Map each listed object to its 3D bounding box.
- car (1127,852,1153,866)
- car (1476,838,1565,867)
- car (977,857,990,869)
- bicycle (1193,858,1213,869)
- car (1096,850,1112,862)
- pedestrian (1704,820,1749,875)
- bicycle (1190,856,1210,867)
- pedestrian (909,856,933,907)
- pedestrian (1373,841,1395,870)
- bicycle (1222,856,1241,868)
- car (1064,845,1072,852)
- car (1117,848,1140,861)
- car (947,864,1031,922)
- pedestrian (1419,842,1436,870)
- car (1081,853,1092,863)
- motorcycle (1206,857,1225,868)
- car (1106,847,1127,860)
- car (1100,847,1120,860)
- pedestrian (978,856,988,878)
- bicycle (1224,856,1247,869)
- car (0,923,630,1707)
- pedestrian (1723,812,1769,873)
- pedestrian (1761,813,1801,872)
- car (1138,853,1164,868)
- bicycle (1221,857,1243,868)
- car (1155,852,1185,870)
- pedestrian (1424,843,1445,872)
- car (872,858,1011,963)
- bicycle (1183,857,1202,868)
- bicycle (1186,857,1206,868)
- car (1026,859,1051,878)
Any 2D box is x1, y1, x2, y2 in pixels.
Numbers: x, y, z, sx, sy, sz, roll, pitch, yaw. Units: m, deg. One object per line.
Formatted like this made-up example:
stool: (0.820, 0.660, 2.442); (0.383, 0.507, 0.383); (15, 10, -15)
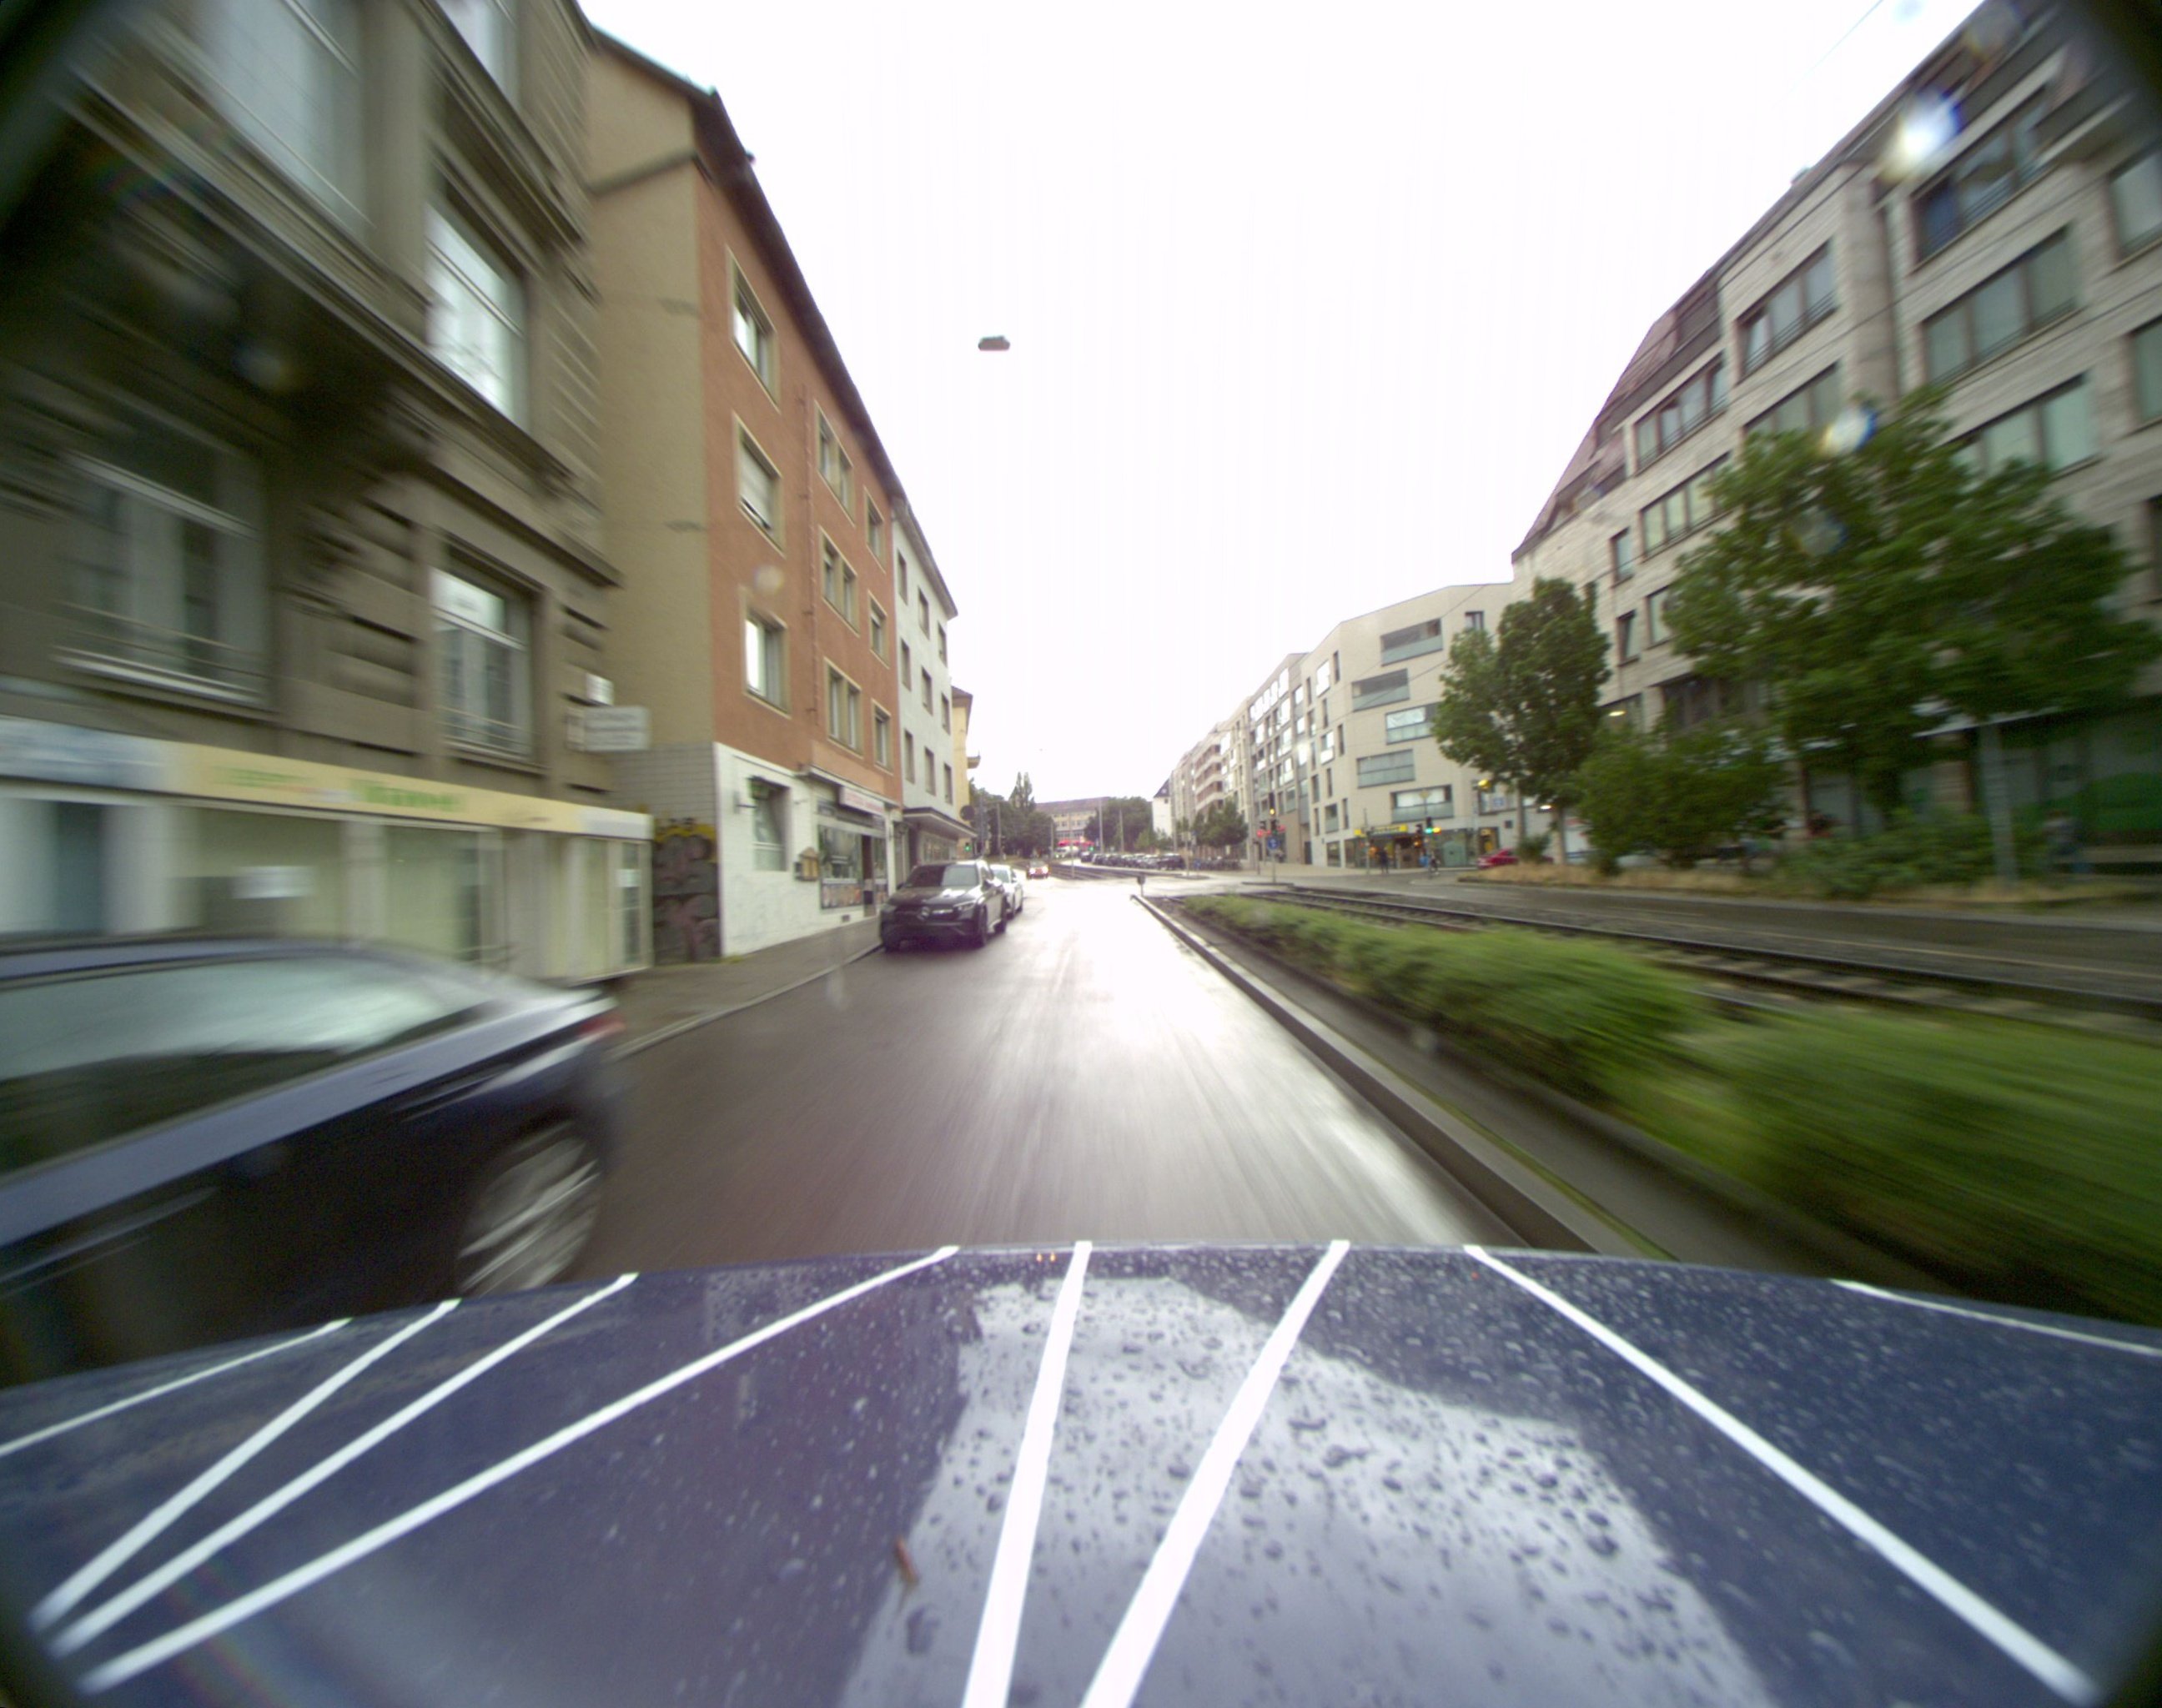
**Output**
car: (6.771, 0.577, 87.796); (1.686, 1.521, 4.044); (-4, 1, -15)
car: (23.092, -0.073, 39.990); (3.701, 1.310, 1.594); (-3, 2, 6)
car: (-15.512, 1.469, 120.658); (1.727, 1.676, 3.862); (-5, 2, -11)
bicycle: (11.201, 0.860, 69.740); (1.790, 0.912, 0.387); (-3, 2, -14)
car: (3.192, 0.222, 106.548); (1.685, 1.496, 4.402); (-4, 1, -5)
pedestrian: (18.827, -0.198, 22.166); (0.649, 1.540, 0.683); (-5, 2, -1)
bicycle: (11.051, 0.718, 70.705); (1.790, 0.912, 0.387); (-3, 2, -14)
pedestrian: (-5.057, 0.878, 24.047); (0.690, 1.562, 0.762); (-1, -2, -11)
pedestrian: (19.400, 0.114, 48.628); (0.933, 1.819, 0.959); (-2, 1, -8)
bicycle: (13.226, 0.701, 66.826); (1.791, 0.912, 0.386); (-5, 2, -28)
car: (-3.494, -1.502, 207.883); (1.667, 1.598, 3.808); (-5, 2, 5)
car: (5.716, 0.019, 92.149); (1.685, 1.373, 4.029); (-4, 1, -11)
car: (-2.587, 1.052, 22.314); (1.806, 1.447, 4.587); (-2, 0, 1)
pedestrian: (22.195, 0.120, 48.686); (0.706, 1.701, 0.584); (-4, 2, -23)
car: (0.963, 0.686, 130.317); (1.655, 1.456, 3.668); (-5, 2, -1)
motorcycle: (13.051, 0.822, 73.899); (1.765, 1.037, 0.542); (-2, 3, -13)
car: (4.535, -0.075, 97.355); (1.685, 1.554, 3.924); (-4, 1, -11)
car: (3.875, -0.071, 101.528); (1.685, 1.496, 3.924); (-4, 1, -11)
pedestrian: (-8.139, 1.065, 62.982); (0.749, 1.754, 0.817); (1, 1, -11)
bicycle: (13.182, 0.697, 64.809); (1.790, 0.975, 0.440); (-4, 2, -14)
car: (-2.810, 1.028, 1.125); (1.796, 1.398, 4.256); (0, 1, -1)
pedestrian: (19.504, -0.353, 22.290); (0.649, 1.714, 0.683); (-5, 2, -1)
pedestrian: (19.776, -0.330, 21.474); (0.505, 1.589, 0.585); (-5, 2, -2)
car: (7.610, 0.671, 82.941); (1.685, 1.456, 4.325); (-4, 1, -11)
bicycle: (13.102, 0.752, 66.007); (1.789, 0.871, 0.387); (-4, 2, -12)
car: (8.861, 0.641, 76.066); (1.685, 1.595, 4.325); (-4, 1, -11)
pedestrian: (19.988, 0.213, 42.999); (0.649, 1.560, 0.775); (-6, 3, -37)
car: (-2.629, 1.001, 15.476); (1.850, 1.623, 4.585); (-3, 1, 1)
bicycle: (10.657, 0.811, 72.592); (1.790, 0.912, 0.387); (-4, 2, -14)
bicycle: (10.858, 0.822, 71.530); (1.790, 0.912, 0.387); (-3, 2, -14)
car: (-3.714, 1.271, 66.575); (1.595, 1.456, 3.666); (-5, 2, -11)
